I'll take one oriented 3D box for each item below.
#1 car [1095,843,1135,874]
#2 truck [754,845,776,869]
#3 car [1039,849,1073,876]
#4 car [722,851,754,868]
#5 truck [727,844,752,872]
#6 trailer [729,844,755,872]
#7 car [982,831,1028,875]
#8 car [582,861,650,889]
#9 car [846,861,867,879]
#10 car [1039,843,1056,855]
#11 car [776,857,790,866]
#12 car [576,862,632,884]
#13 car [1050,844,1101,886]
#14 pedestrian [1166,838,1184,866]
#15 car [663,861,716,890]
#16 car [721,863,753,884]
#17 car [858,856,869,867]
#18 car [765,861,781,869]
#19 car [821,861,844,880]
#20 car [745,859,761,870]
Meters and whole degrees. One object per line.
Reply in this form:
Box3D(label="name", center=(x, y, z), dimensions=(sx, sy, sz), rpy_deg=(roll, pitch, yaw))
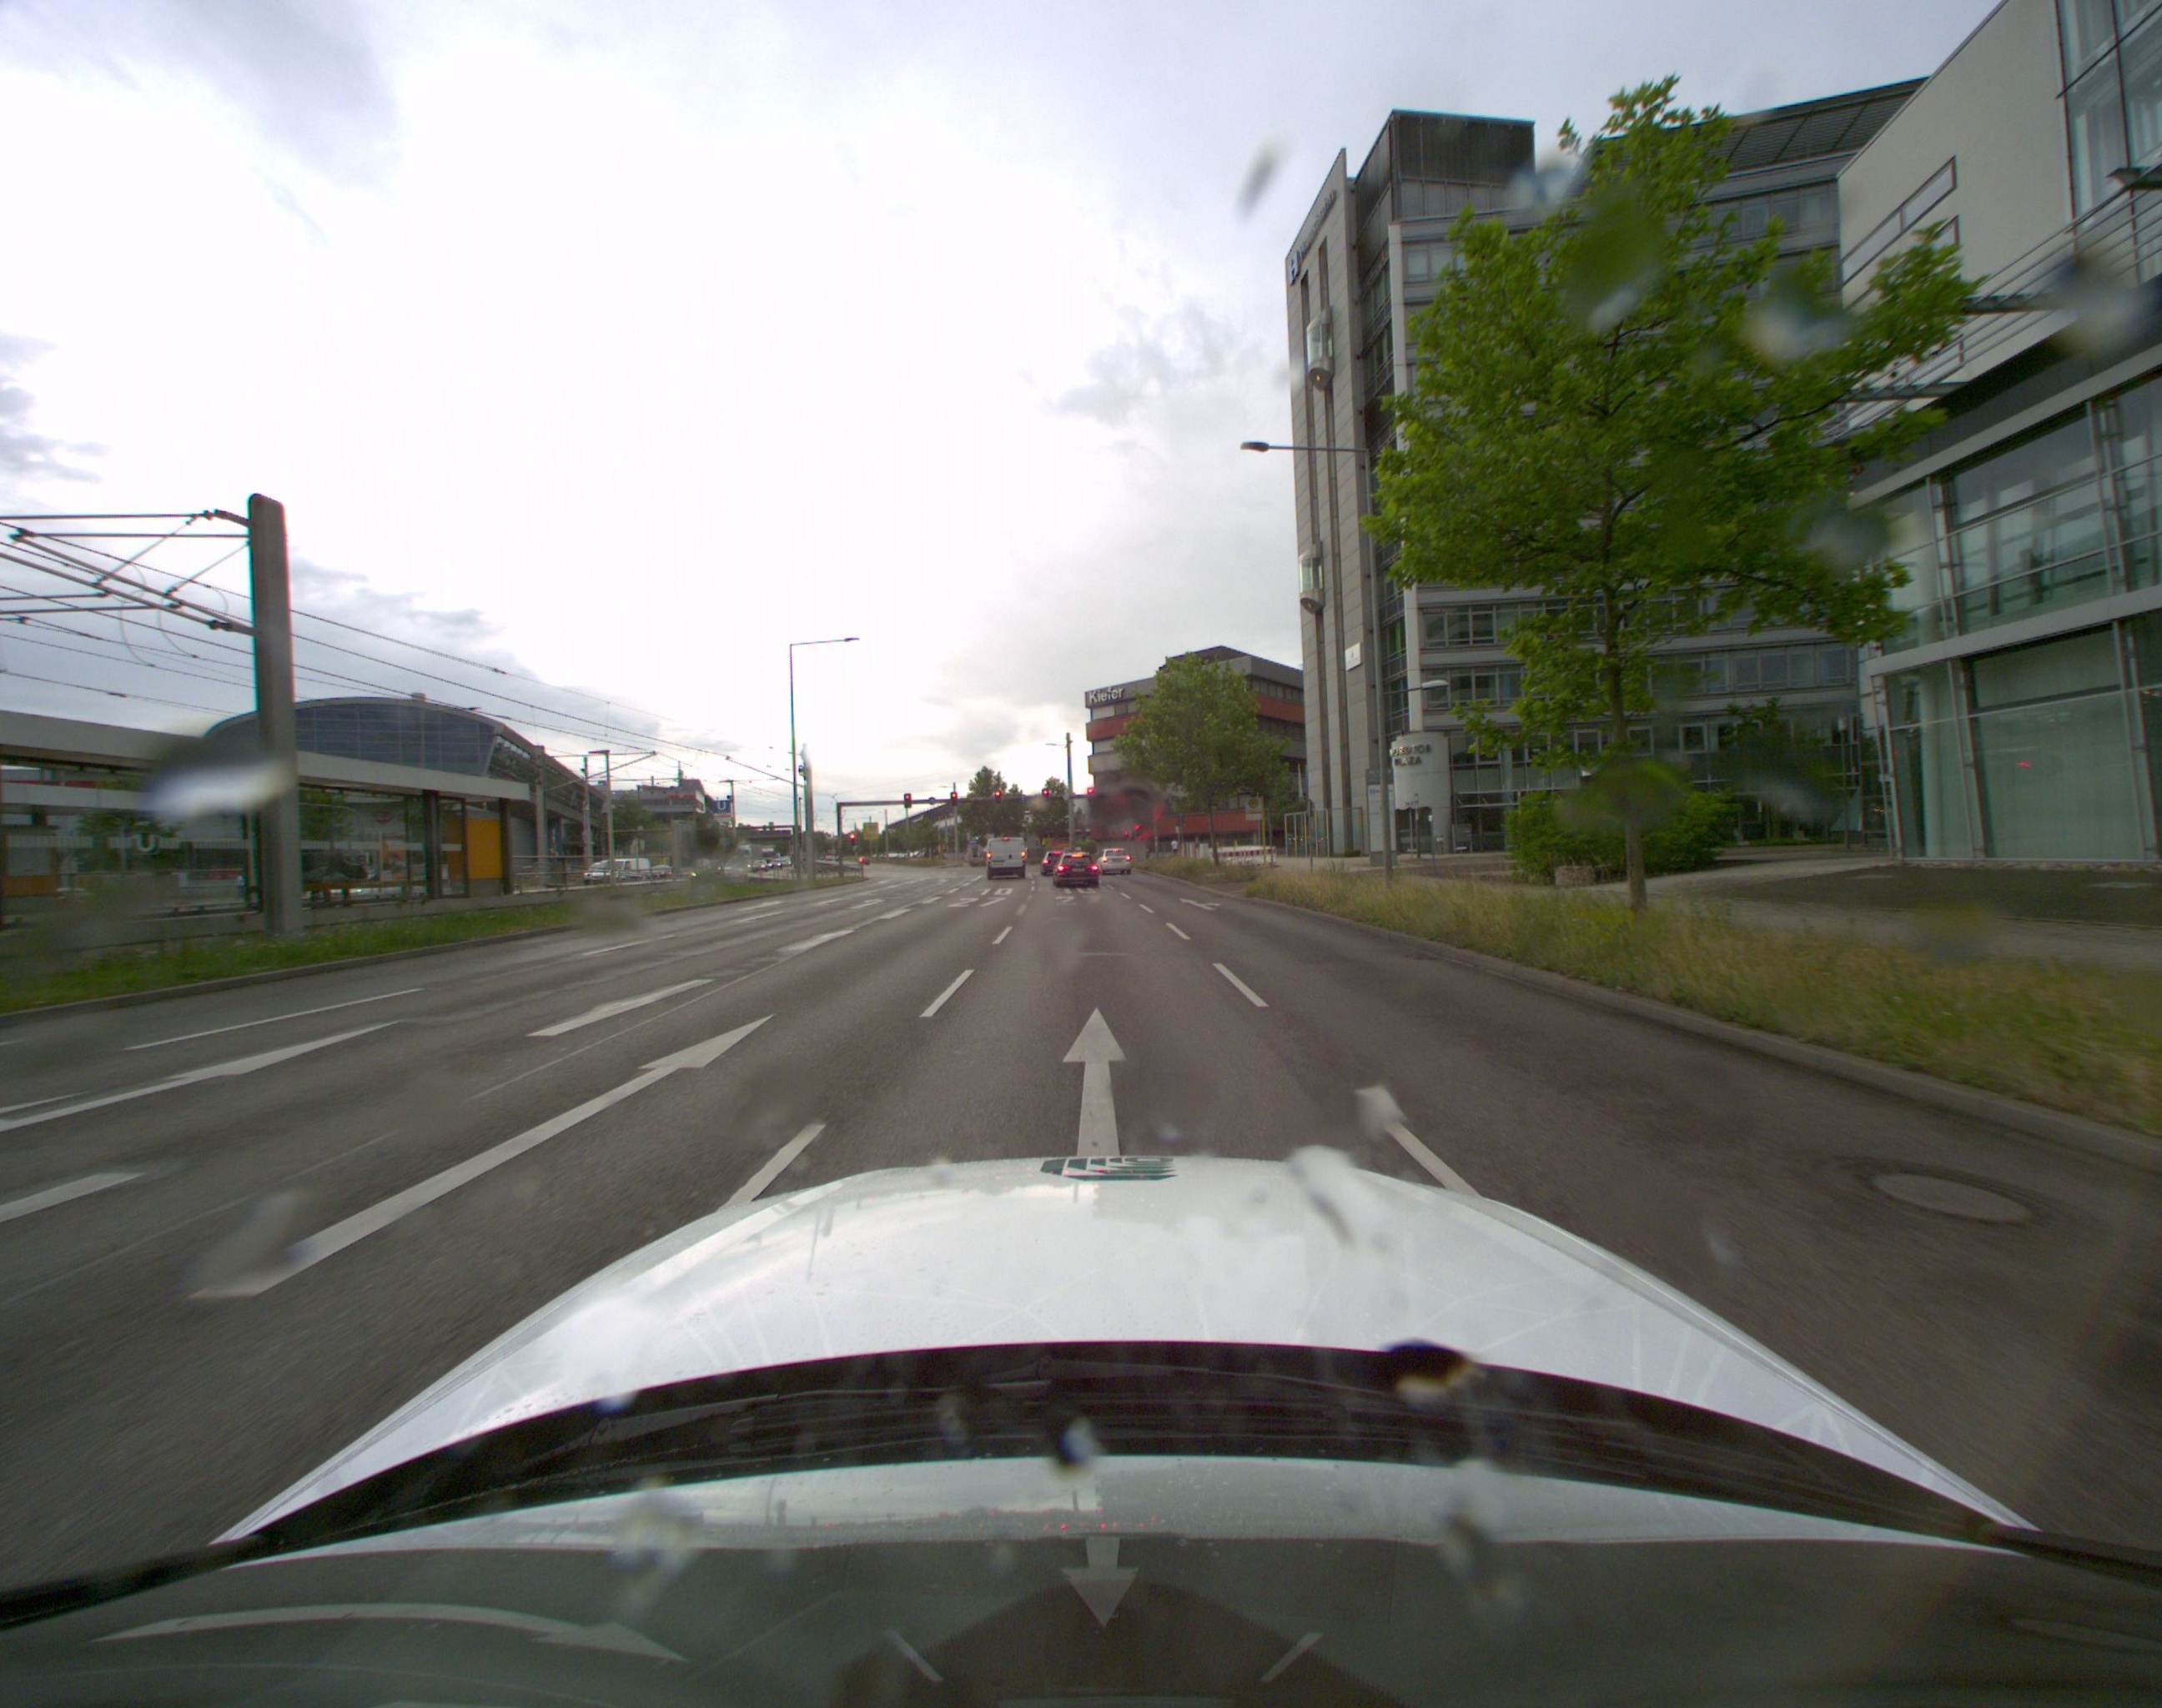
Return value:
Box3D(label="car", center=(1.914, 0.279, 47.419), dimensions=(1.826, 1.656, 3.993), rpy_deg=(-1, -1, -5))
Box3D(label="truck", center=(-56.803, 0.565, 146.587), dimensions=(2.670, 4.130, 6.157), rpy_deg=(-3, 0, -13))
Box3D(label="car", center=(-1.504, 0.518, 49.053), dimensions=(1.889, 1.465, 3.906), rpy_deg=(-2, -1, -2))
Box3D(label="car", center=(-34.004, 0.577, 80.853), dimensions=(1.525, 1.666, 4.263), rpy_deg=(0, -1, -4))
Box3D(label="truck", center=(-50.498, 0.607, 120.601), dimensions=(2.840, 3.995, 5.949), rpy_deg=(-2, 1, -18))
Box3D(label="trailer", center=(-52.066, 0.602, 125.239), dimensions=(2.803, 4.107, 11.369), rpy_deg=(-3, 1, -19))
Box3D(label="car", center=(-4.326, -0.026, 45.726), dimensions=(2.443, 2.294, 4.892), rpy_deg=(0, -1, -7))
Box3D(label="car", center=(-29.957, 1.315, 52.702), dimensions=(1.992, 1.731, 5.018), rpy_deg=(0, -1, -7))
Box3D(label="car", center=(-26.760, 1.879, 97.189), dimensions=(1.771, 2.013, 4.338), rpy_deg=(0, 0, -6))
Box3D(label="car", center=(-6.141, -0.877, 147.603), dimensions=(1.879, 2.014, 3.743), rpy_deg=(0, -1, -24))
Box3D(label="car", center=(-54.226, 1.313, 148.328), dimensions=(1.890, 1.652, 4.075), rpy_deg=(0, -1, -14))
Box3D(label="car", center=(-37.285, 1.452, 63.775), dimensions=(2.103, 1.700, 4.654), rpy_deg=(0, -1, -7))
Box3D(label="car", center=(-0.288, 0.457, 34.327), dimensions=(1.989, 1.637, 3.995), rpy_deg=(0, -1, -3))
Box3D(label="pedestrian", center=(7.548, -0.169, 65.648), dimensions=(1.141, 2.125, 1.221), rpy_deg=(-3, 2, -4))
Box3D(label="car", center=(-30.986, 1.652, 64.621), dimensions=(1.990, 2.214, 5.135), rpy_deg=(0, -1, -4))
Box3D(label="car", center=(-34.154, 1.909, 81.011), dimensions=(1.771, 2.014, 4.335), rpy_deg=(0, -1, -8))
Box3D(label="car", center=(-39.027, 1.366, 146.186), dimensions=(1.778, 2.014, 4.320), rpy_deg=(0, -1, -18))
Box3D(label="car", center=(-49.250, 1.727, 130.345), dimensions=(1.910, 1.264, 4.393), rpy_deg=(0, -1, -14))
Box3D(label="car", center=(-28.080, 1.870, 92.187), dimensions=(1.771, 2.013, 4.338), rpy_deg=(0, 0, -6))
Box3D(label="car", center=(-44.901, 1.429, 111.574), dimensions=(1.743, 1.462, 4.128), rpy_deg=(0, -1, -17))
